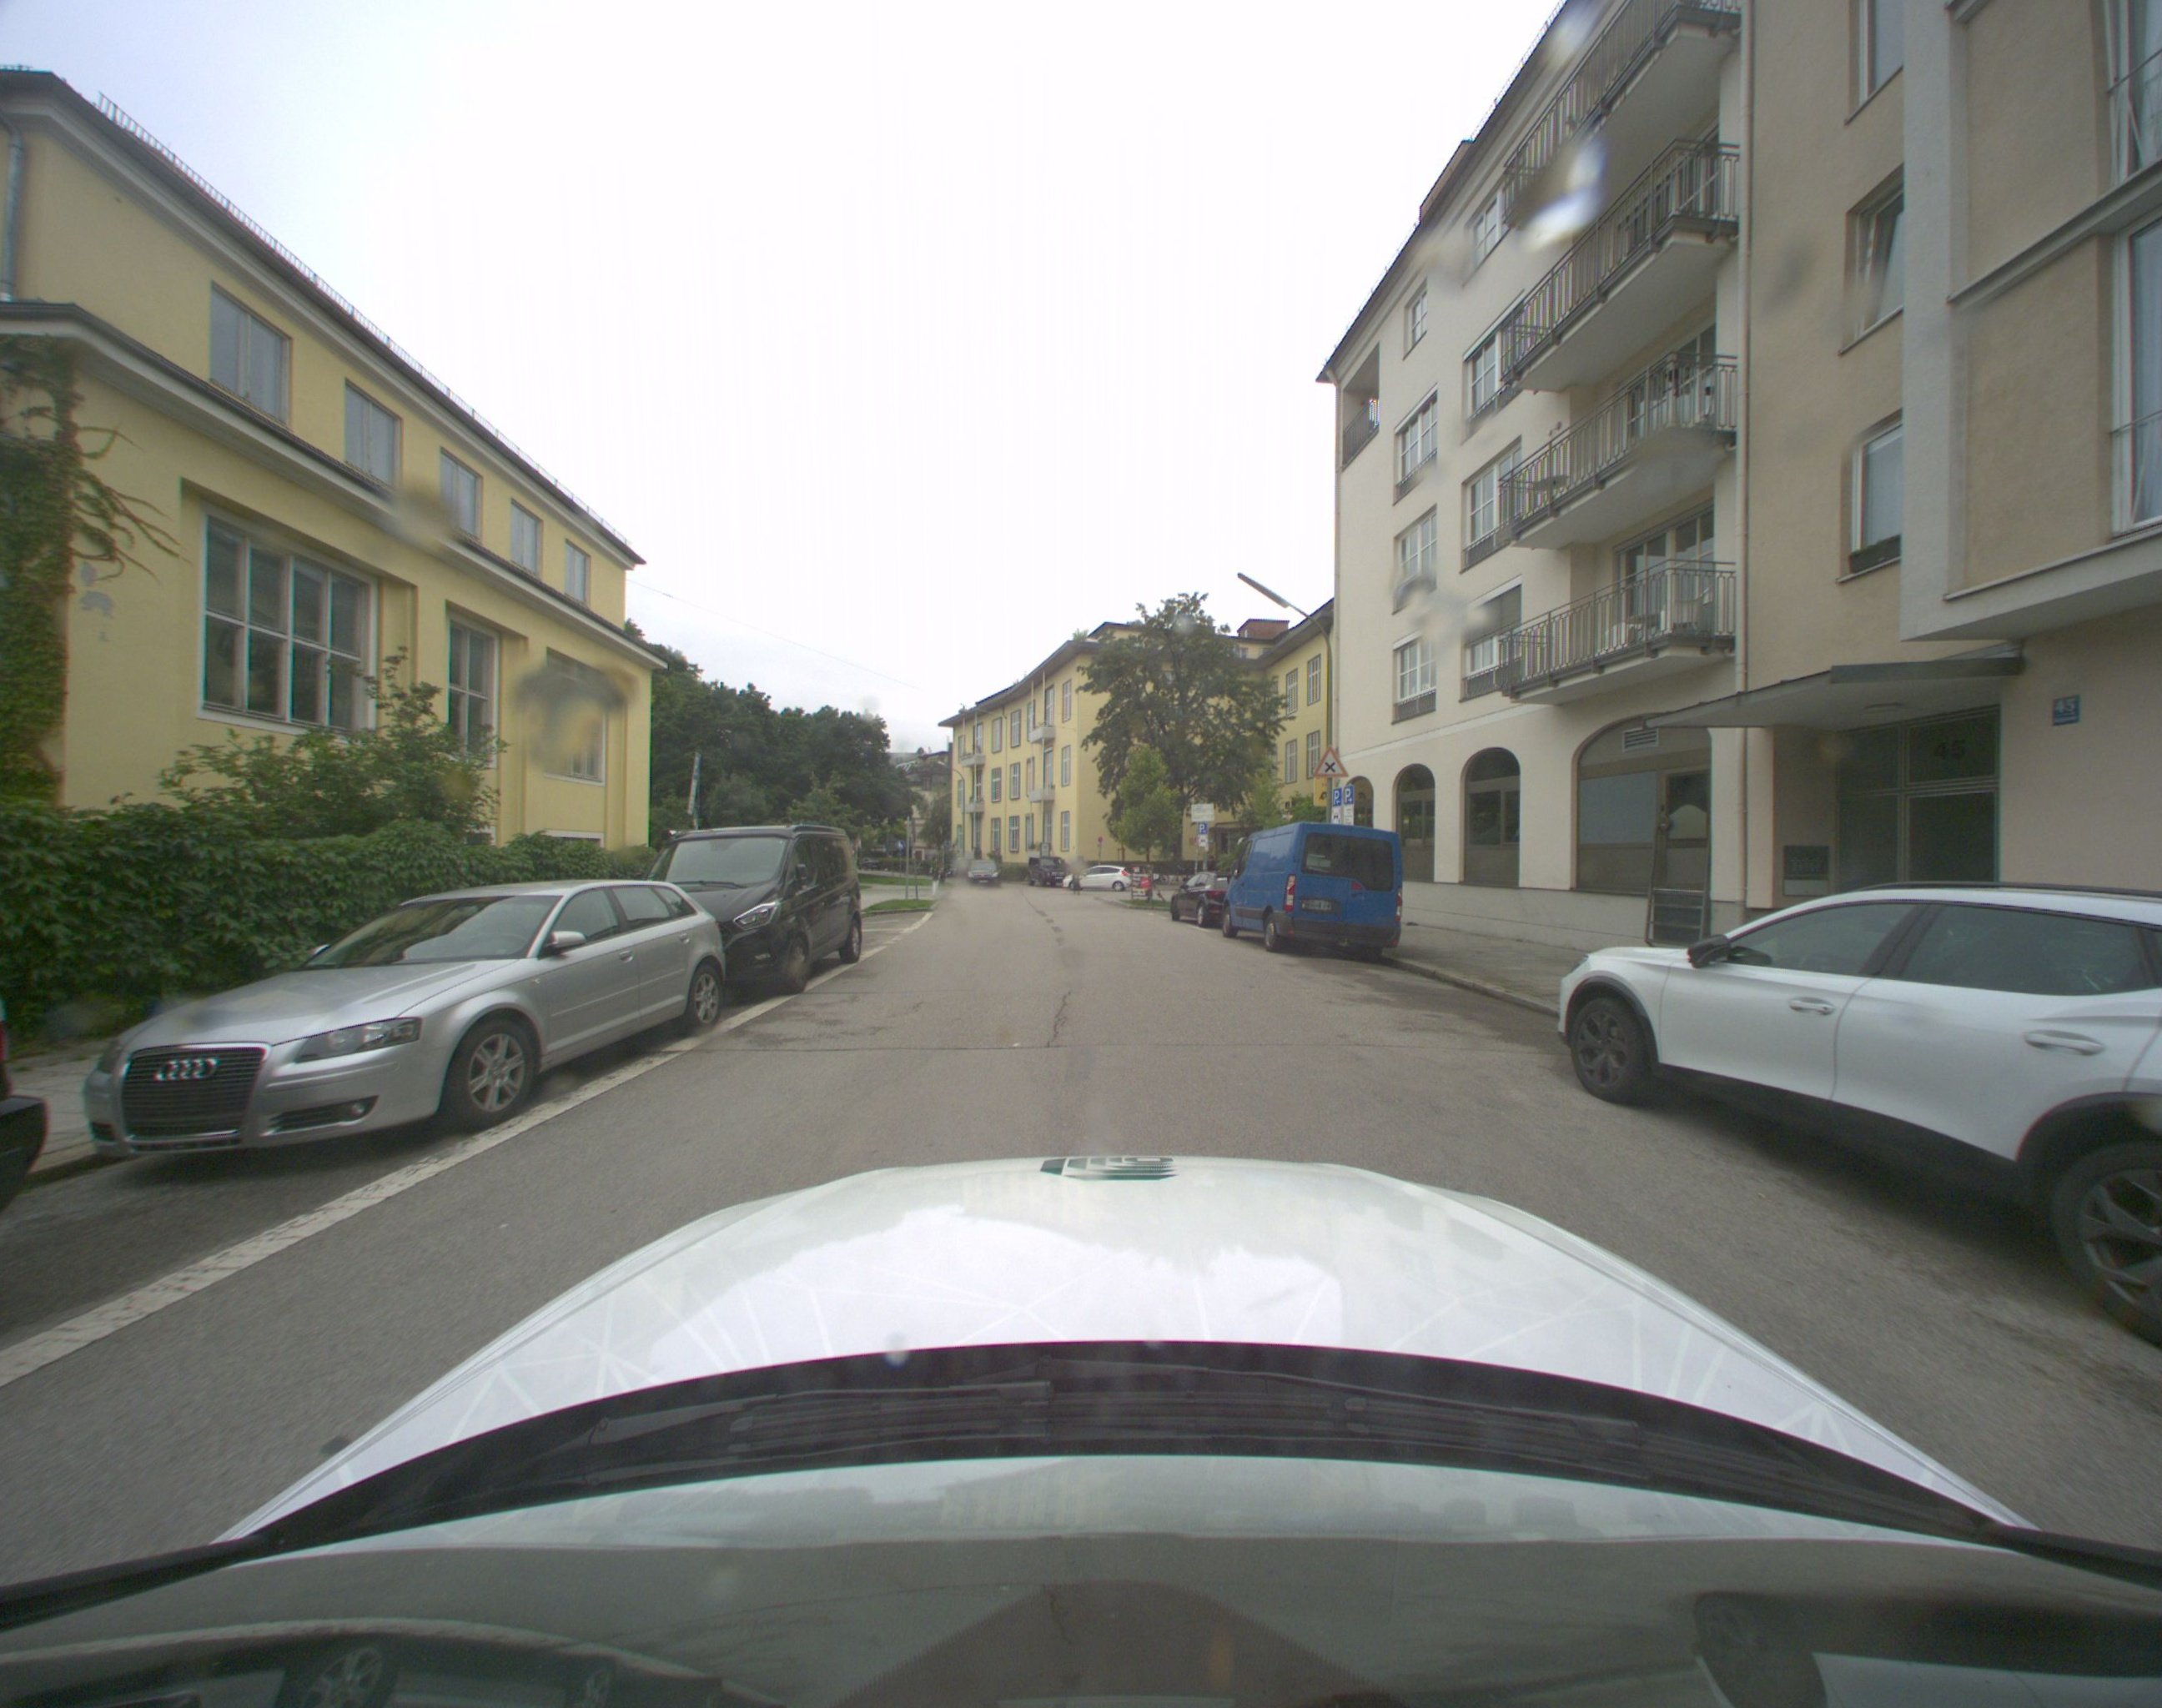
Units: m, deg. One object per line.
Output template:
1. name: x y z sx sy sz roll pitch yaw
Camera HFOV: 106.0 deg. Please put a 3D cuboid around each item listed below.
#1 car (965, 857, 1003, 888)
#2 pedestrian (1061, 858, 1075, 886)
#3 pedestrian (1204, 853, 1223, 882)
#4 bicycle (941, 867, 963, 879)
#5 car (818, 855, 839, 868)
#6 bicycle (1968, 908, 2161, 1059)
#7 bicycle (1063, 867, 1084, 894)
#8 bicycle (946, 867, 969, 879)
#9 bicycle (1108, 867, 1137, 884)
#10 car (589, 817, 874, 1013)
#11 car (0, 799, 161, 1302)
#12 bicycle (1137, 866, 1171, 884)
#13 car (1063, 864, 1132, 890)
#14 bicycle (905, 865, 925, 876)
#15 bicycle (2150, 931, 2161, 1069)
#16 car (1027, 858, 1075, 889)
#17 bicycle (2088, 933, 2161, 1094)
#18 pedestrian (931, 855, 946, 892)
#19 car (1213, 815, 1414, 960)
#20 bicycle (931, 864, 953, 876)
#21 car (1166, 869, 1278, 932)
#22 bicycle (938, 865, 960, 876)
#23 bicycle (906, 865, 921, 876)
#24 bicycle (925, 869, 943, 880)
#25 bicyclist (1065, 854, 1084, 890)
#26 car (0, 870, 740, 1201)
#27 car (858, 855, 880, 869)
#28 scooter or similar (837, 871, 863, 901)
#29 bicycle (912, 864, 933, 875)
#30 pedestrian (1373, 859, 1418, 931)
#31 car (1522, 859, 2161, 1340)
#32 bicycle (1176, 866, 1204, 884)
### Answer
1. car: -5.777 1.044 48.071 1.994 1.719 4.599 0 0 -10
2. pedestrian: -0.851 1.153 52.849 0.847 1.757 0.952 0 0 -4
3. pedestrian: 8.242 0.830 50.623 0.988 1.809 0.658 0 -1 -7
4. bicycle: -11.663 1.720 73.586 1.989 1.029 0.611 1 -1 -43
5. car: -34.520 0.992 111.333 1.804 1.680 3.961 0 0 -31
6. bicycle: 8.658 1.062 7.093 0.367 1.101 1.348 -3 -1 3
7. bicycle: -0.354 1.288 40.673 0.917 1.252 2.323 0 0 2
8. bicycle: -11.058 1.714 73.025 1.989 1.029 0.611 1 -1 -43
9. bicycle: 2.698 1.404 53.378 1.925 1.085 0.532 -2 -2 37
10. car: -4.280 0.631 10.939 1.921 1.979 4.618 -3 0 -3
11. car: -4.381 0.669 0.801 1.696 1.606 4.493 -3 0 2
12. bicycle: 4.684 1.321 52.338 2.154 1.115 0.642 0 0 10
13. car: 0.971 1.312 46.387 3.691 1.406 1.758 0 0 11
14. bicycle: -16.733 1.668 82.164 1.989 1.029 0.611 1 -1 -43
15. bicycle: 8.558 1.141 5.692 0.367 1.101 1.348 -3 -1 3
16. car: -2.005 1.228 52.849 1.879 1.887 4.589 0 0 -19
17. bicycle: 7.988 1.148 5.564 0.395 1.101 1.296 -3 -1 -14
18. pedestrian: -6.589 0.900 37.651 0.543 1.697 0.662 -1 0 -17
19. car: 4.248 0.638 15.895 2.105 2.214 5.021 5 -2 -3
20. bicycle: -12.891 1.466 75.404 1.989 1.029 0.611 1 -1 -43
21. car: 3.653 1.173 21.848 1.714 1.395 3.988 4 -1 -9
22. bicycle: -12.092 1.492 74.511 1.989 1.029 0.611 1 -1 -43
23. bicycle: -16.902 1.667 82.051 0.404 1.014 1.547 -1 0 44
24. bicycle: -13.864 1.914 76.938 0.527 1.029 1.989 0 -1 27
25. bicyclist: -0.323 0.906 40.723 0.910 1.764 1.216 0 0 2
26. car: -4.225 0.902 5.874 1.701 1.365 4.002 -4 0 1
27. car: -24.667 0.958 94.742 1.656 1.558 3.527 0 0 -28
28. scooter or similar: -9.666 1.344 34.158 0.434 1.213 1.059 -1 -3 26
29. bicycle: -15.635 1.526 80.468 1.989 1.029 0.611 1 -1 -43
30. pedestrian: 7.265 0.936 18.809 0.710 1.605 0.699 -1 -1 -5
31. car: 4.395 0.882 4.096 1.772 1.522 4.299 4 0 -3
32. bicycle: 6.972 1.315 52.099 1.680 1.130 0.459 0 0 -7
